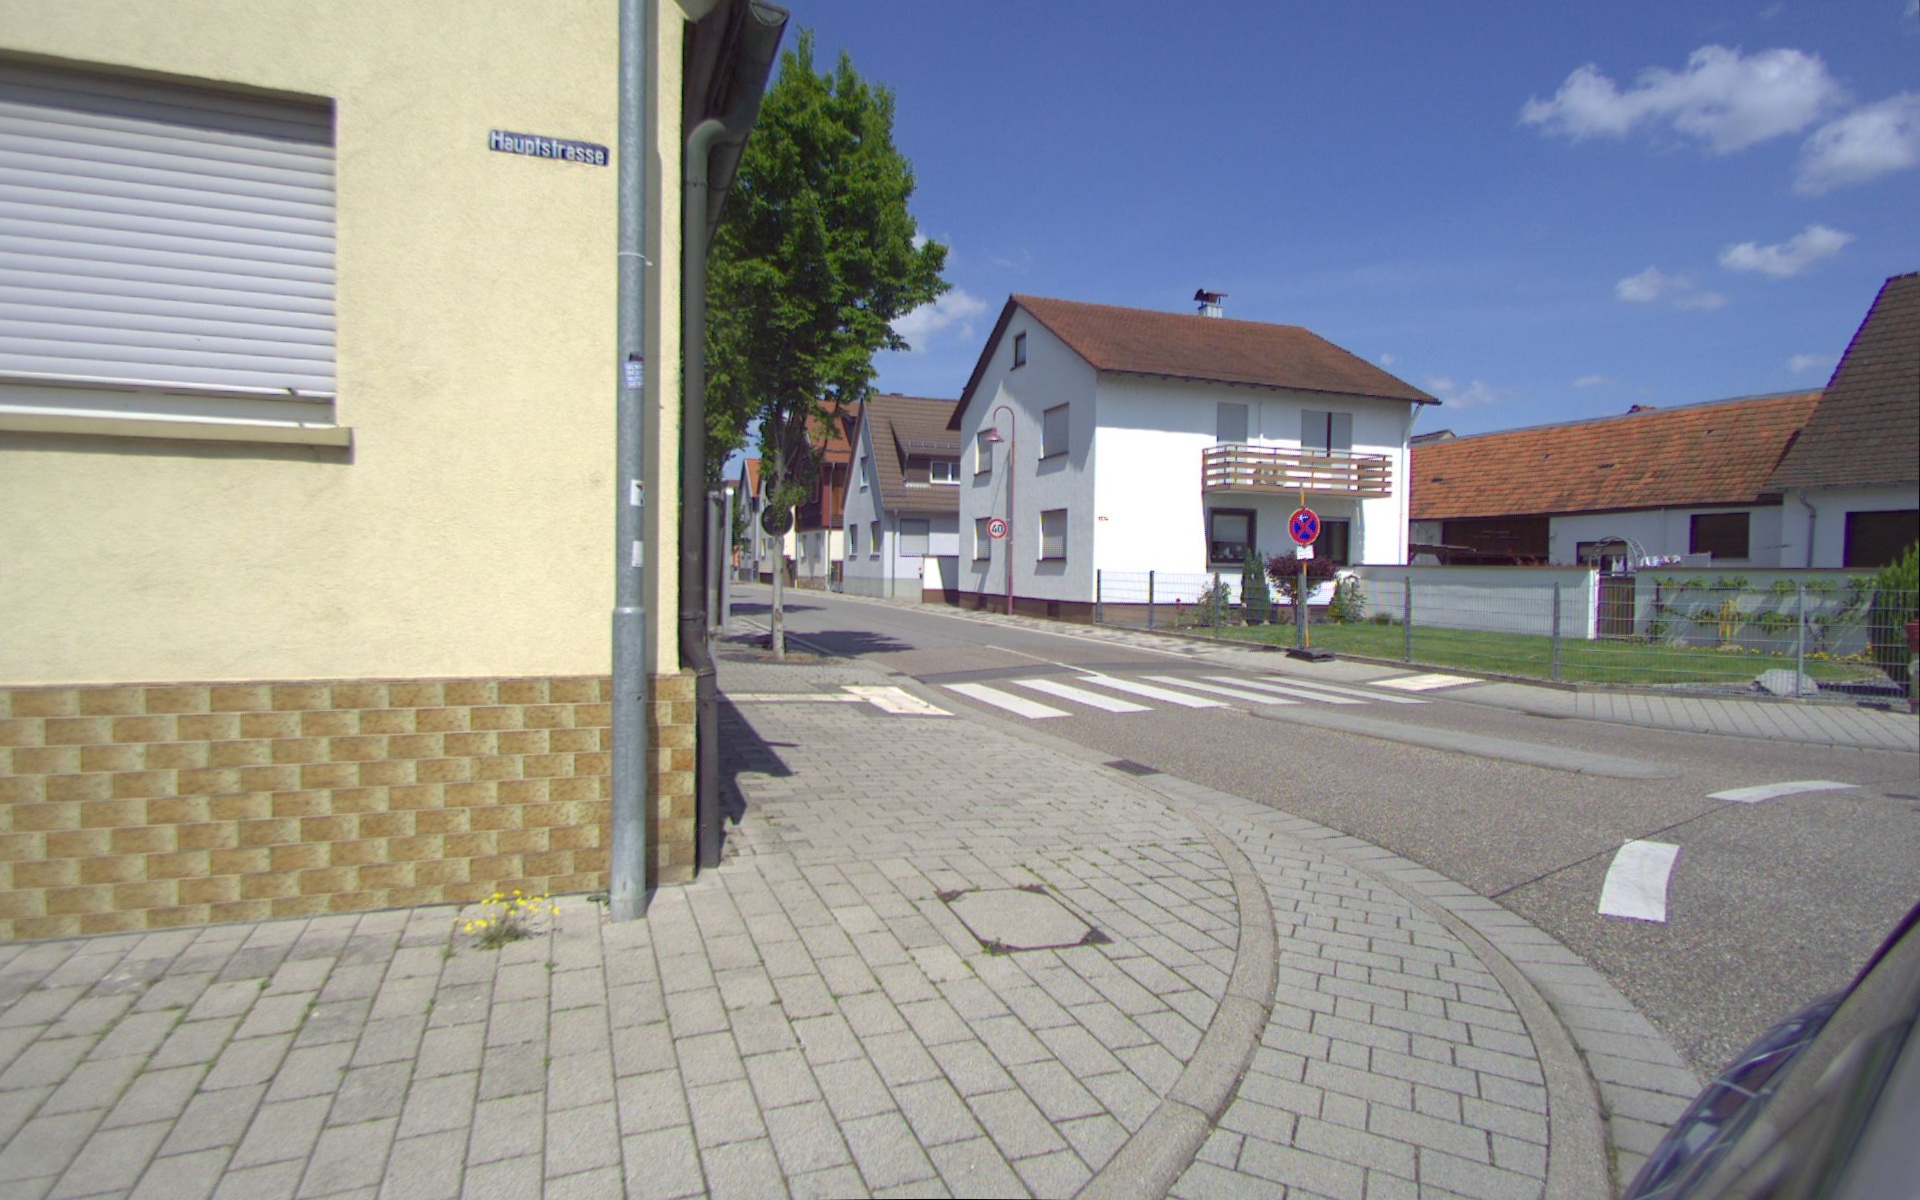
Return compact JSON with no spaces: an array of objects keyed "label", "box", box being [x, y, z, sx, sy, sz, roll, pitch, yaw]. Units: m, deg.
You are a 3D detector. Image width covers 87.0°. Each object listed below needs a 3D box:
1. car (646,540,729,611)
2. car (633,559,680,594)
[{"label":"car","box":[-8.380,-0.758,30.808,1.958,1.962,4.489,1,2,-21]},{"label":"car","box":[-12.959,-1.011,43.067,1.651,1.398,3.568,1,2,-21]}]
